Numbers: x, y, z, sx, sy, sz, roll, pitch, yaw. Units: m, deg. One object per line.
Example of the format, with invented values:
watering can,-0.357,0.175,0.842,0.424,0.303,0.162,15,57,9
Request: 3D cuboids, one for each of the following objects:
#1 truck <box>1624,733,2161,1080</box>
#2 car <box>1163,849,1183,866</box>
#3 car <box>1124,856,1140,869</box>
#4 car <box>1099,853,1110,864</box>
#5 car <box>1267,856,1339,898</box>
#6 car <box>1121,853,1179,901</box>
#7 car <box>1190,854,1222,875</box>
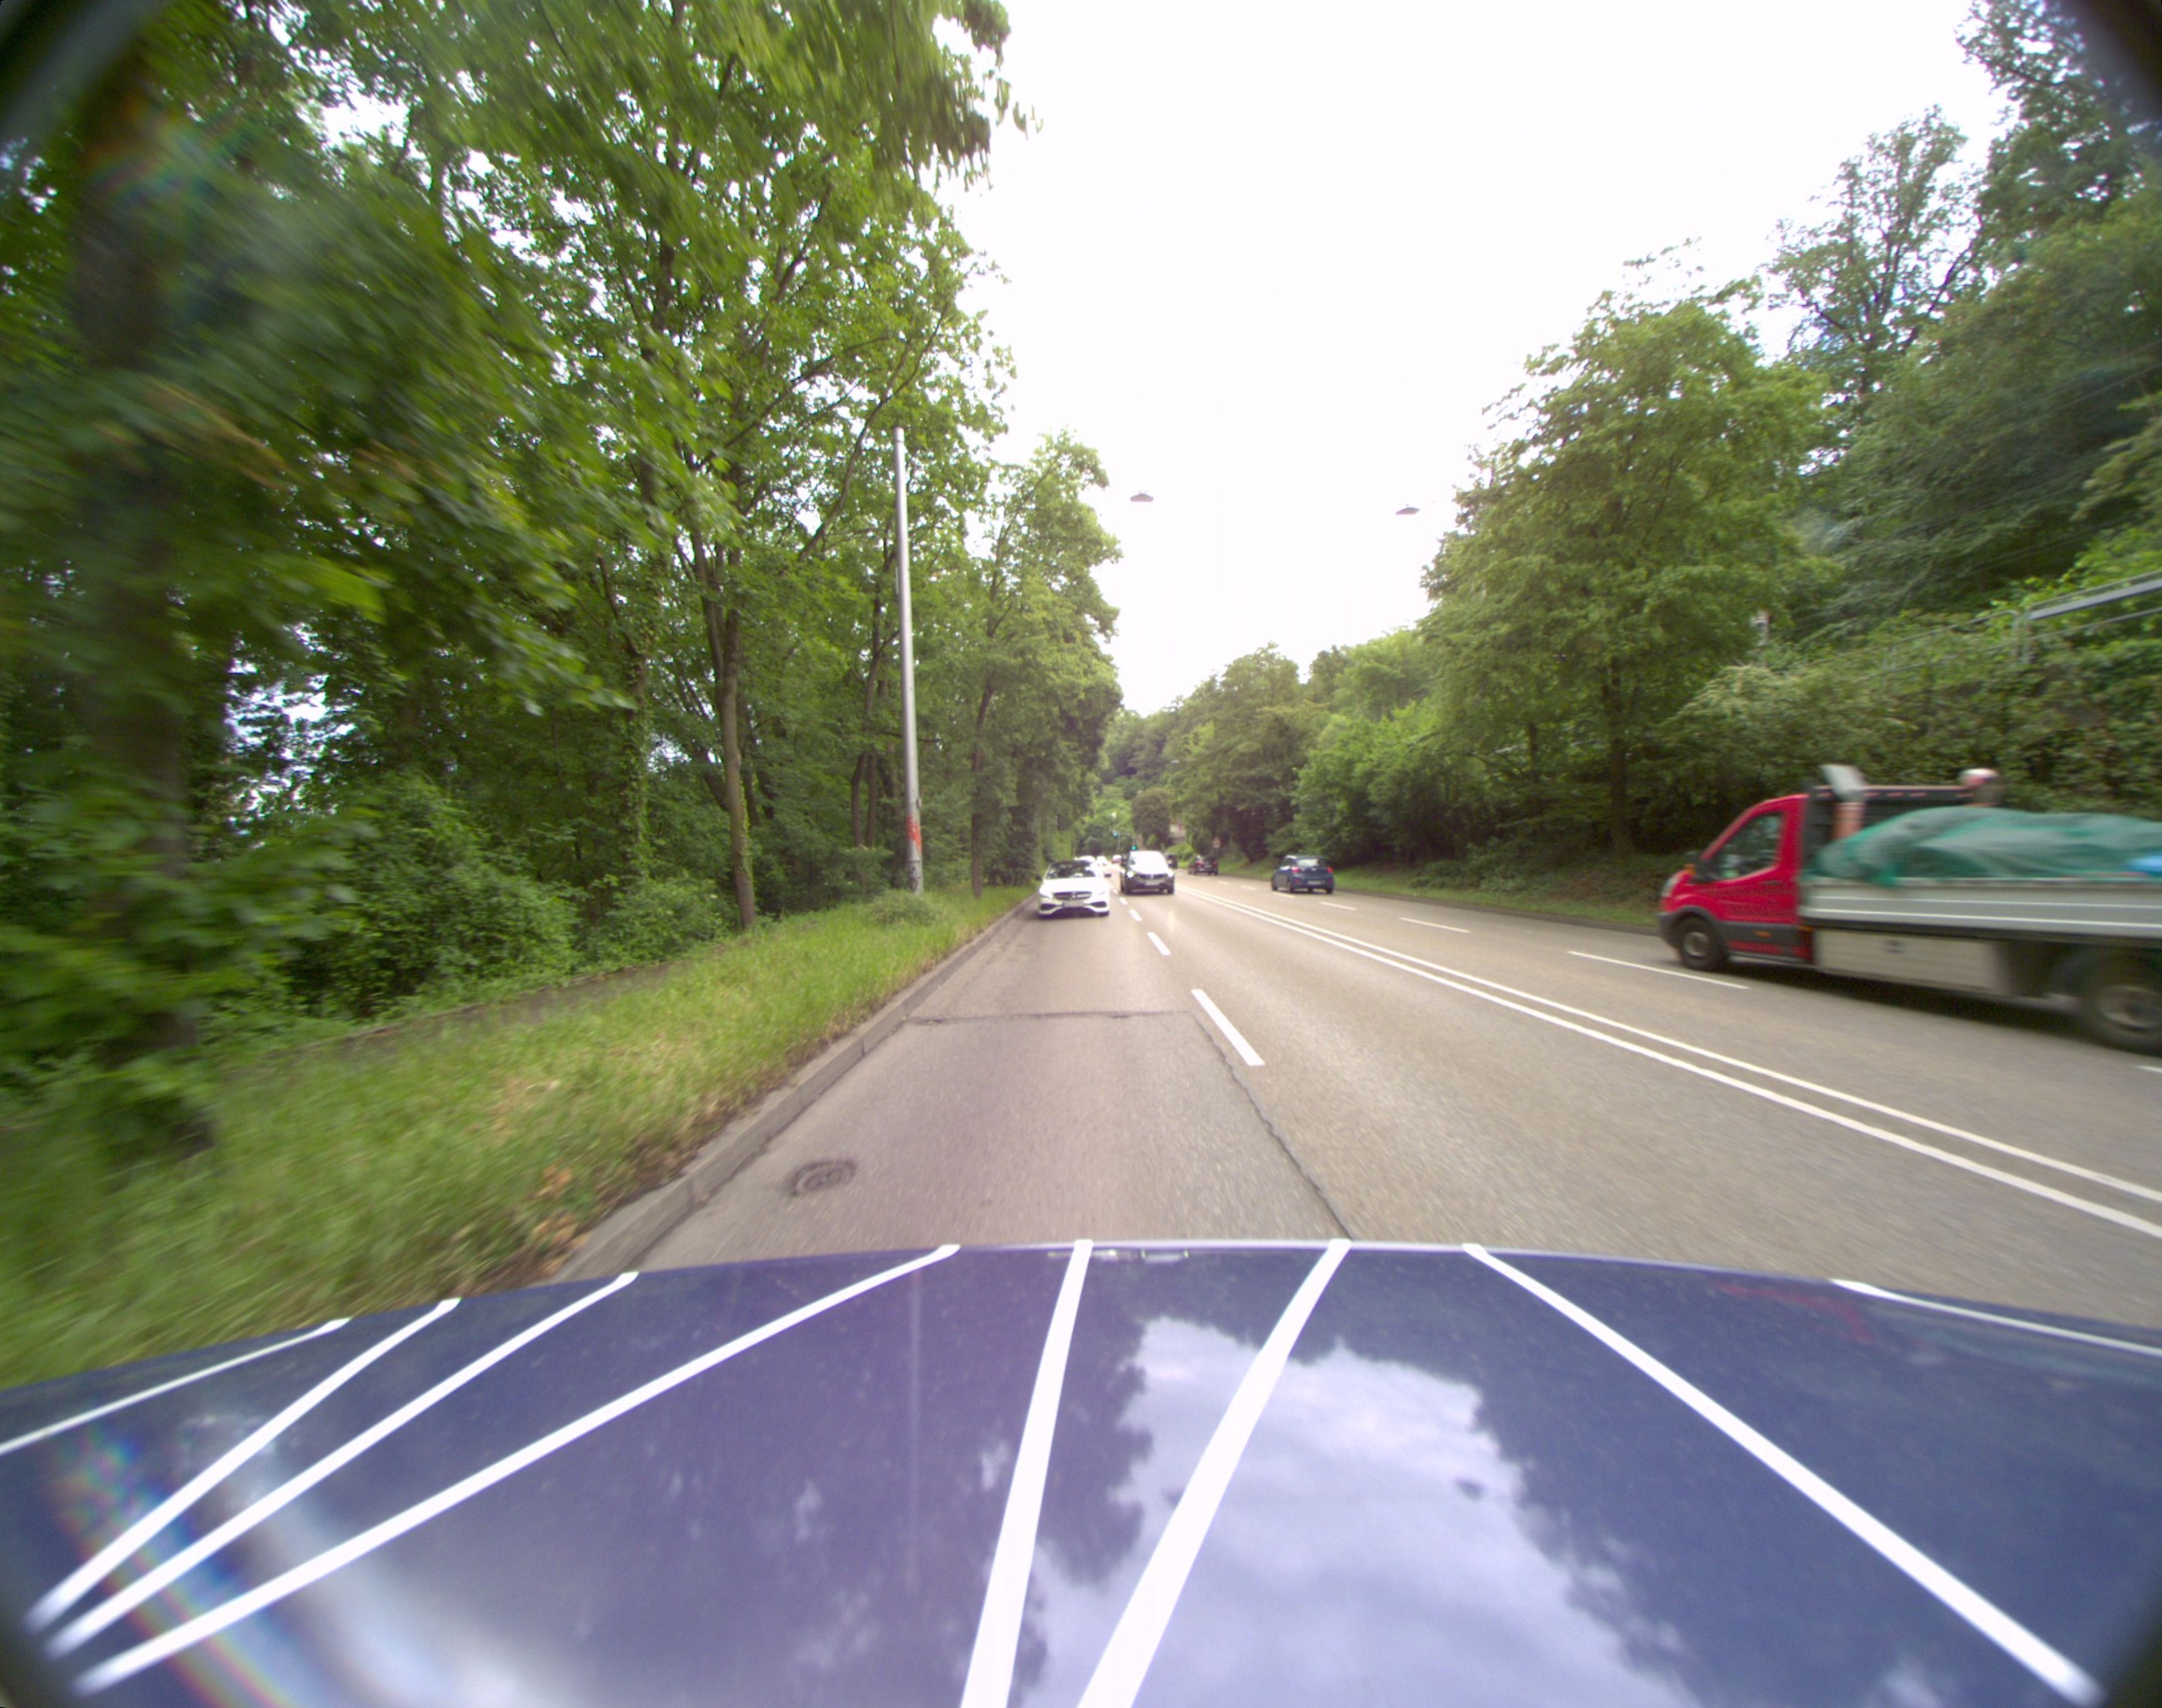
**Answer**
truck,8.637,0.365,7.394,2.182,2.397,6.465,2,1,2
car,9.897,0.314,82.134,1.662,1.762,4.135,1,1,1
car,6.720,1.101,99.949,1.802,1.543,4.000,-2,1,1
car,3.714,0.671,120.559,1.697,1.573,3.999,-2,1,0
car,8.728,0.861,30.173,1.674,1.477,3.999,0,1,0
car,2.568,0.805,29.193,1.871,1.653,4.192,1,1,0
car,9.319,0.751,57.051,1.736,1.502,4.433,0,1,1
